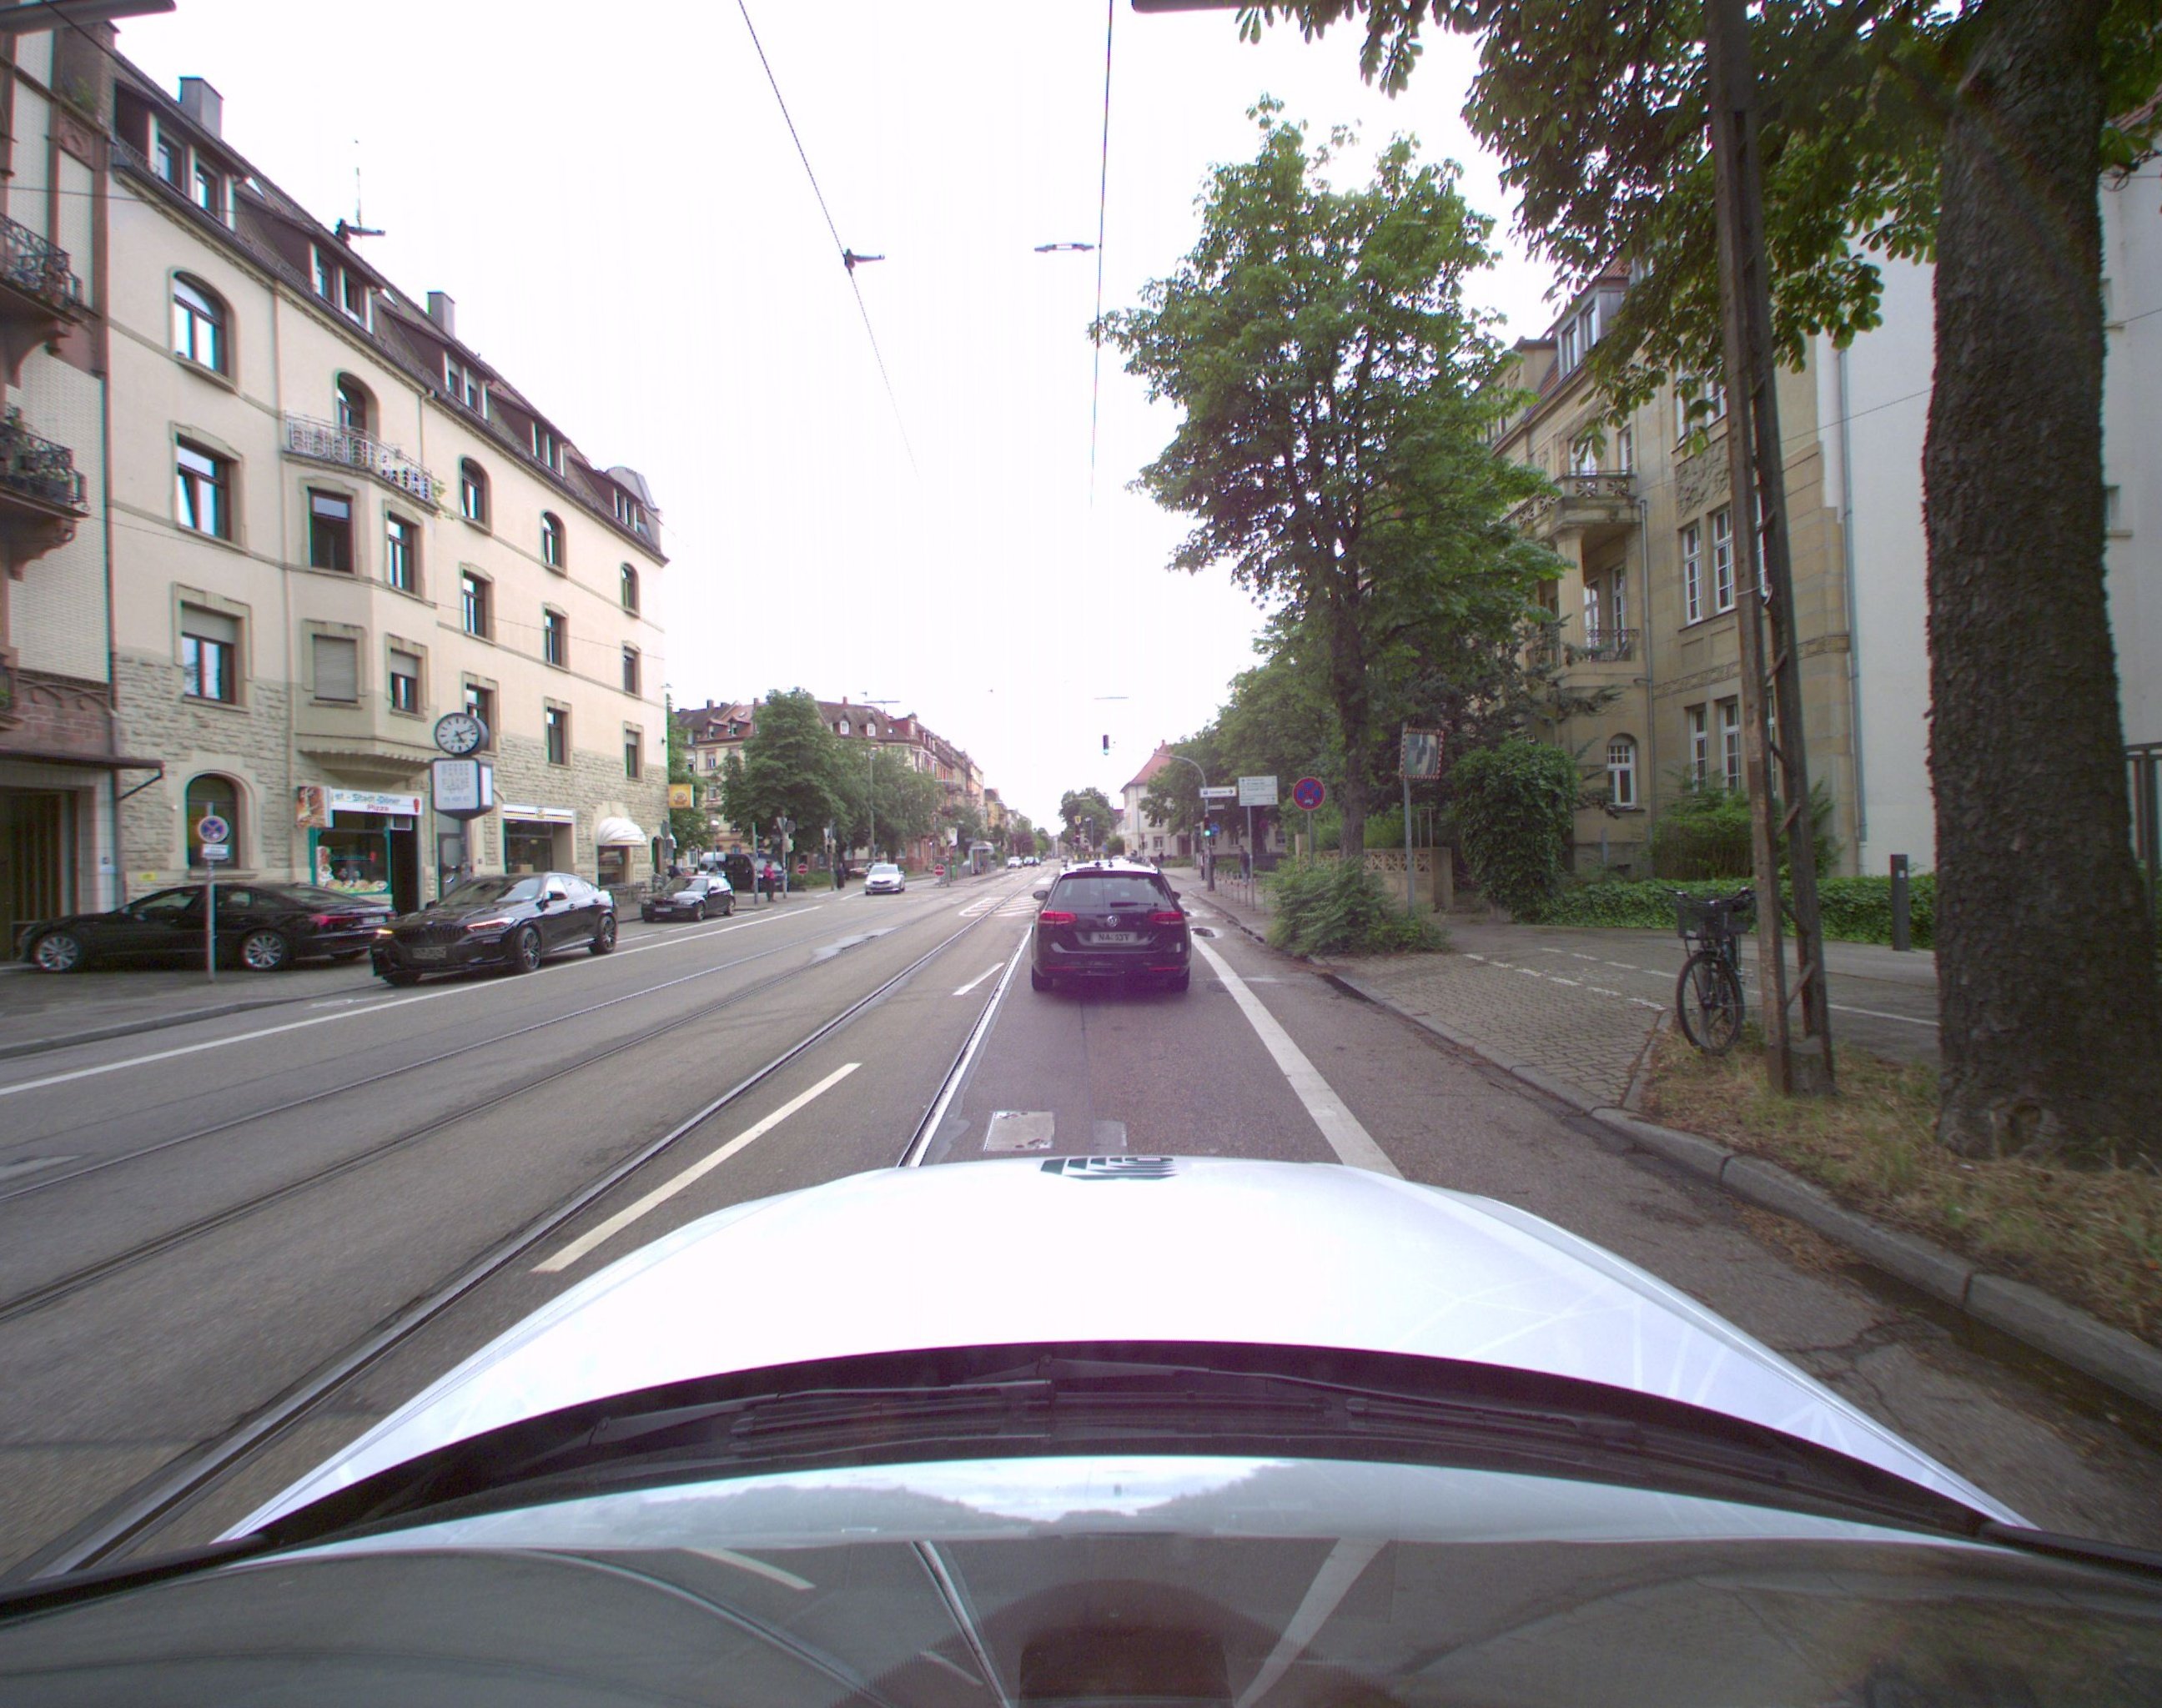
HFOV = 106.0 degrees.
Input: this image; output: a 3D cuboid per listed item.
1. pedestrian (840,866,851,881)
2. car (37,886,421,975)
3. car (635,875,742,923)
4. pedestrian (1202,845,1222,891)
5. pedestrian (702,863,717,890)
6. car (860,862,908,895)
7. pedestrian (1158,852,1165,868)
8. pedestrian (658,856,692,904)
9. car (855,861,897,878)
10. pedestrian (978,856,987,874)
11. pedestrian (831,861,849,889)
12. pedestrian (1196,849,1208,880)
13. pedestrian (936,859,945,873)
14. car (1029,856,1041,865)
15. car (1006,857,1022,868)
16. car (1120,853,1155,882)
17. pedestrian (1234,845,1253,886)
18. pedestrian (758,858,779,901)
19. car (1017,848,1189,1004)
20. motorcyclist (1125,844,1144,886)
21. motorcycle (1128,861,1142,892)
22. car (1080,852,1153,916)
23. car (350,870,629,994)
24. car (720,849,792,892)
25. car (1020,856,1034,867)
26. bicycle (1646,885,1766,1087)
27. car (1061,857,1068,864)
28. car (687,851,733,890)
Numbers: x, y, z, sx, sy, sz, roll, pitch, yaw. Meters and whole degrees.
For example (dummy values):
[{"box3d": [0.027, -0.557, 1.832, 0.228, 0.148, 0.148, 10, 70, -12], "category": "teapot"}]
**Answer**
[{"box3d": [-18.756, 1.559, 64.862, 0.591, 1.168, 0.837, -2, 0, -30], "category": "pedestrian"}, {"box3d": [-14.580, 1.290, 14.200, 4.419, 1.370, 1.877, 1, 0, -6], "category": "car"}, {"box3d": [-12.793, 1.419, 26.826, 1.645, 1.361, 4.125, 1, 0, -3], "category": "car"}, {"box3d": [5.455, 0.576, 33.942, 0.583, 1.831, 0.604, -5, 0, 0], "category": "pedestrian"}, {"box3d": [-24.022, 1.470, 52.633, 0.704, 1.715, 0.545, -1, -1, -41], "category": "pedestrian"}, {"box3d": [-9.698, 1.180, 40.299, 1.686, 1.410, 3.992, -3, 0, -5], "category": "car"}, {"box3d": [8.038, 0.612, 81.603, 0.579, 1.553, 0.610, -1, 0, 2], "category": "pedestrian"}, {"box3d": [-17.679, 1.132, 35.457, 0.971, 2.013, 0.835, -2, 0, -1], "category": "pedestrian"}, {"box3d": [-21.542, 1.597, 85.563, 3.884, 1.622, 1.706, -2, 0, -41], "category": "car"}, {"box3d": [-8.723, 0.956, 72.324, 0.712, 1.521, 0.590, -2, 0, 1], "category": "pedestrian"}, {"box3d": [-14.393, 1.249, 48.567, 0.834, 1.663, 0.591, -2, 0, 0], "category": "pedestrian"}, {"box3d": [7.306, 0.613, 49.065, 0.512, 1.831, 0.418, -5, 0, 0], "category": "pedestrian"}, {"box3d": [-14.923, 1.282, 86.591, 0.582, 1.521, 0.653, -2, -1, 35], "category": "pedestrian"}, {"box3d": [-8.506, 1.254, 149.837, 1.788, 1.596, 4.002, -2, 0, 2], "category": "car"}, {"box3d": [-9.519, 1.180, 115.419, 1.788, 1.596, 4.002, -2, 0, 2], "category": "car"}, {"box3d": [3.277, 0.766, 47.902, 1.718, 1.546, 3.999, -1, 0, -1], "category": "car"}, {"box3d": [7.277, 0.519, 36.451, 0.630, 1.815, 0.725, -2, 0, -3], "category": "pedestrian"}, {"box3d": [-13.612, 1.096, 35.470, 0.621, 1.842, 0.609, -2, 0, -3], "category": "pedestrian"}, {"box3d": [0.210, 0.734, 10.280, 1.718, 1.546, 3.999, -1, 0, -1], "category": "car"}, {"box3d": [2.236, 0.448, 33.875, 0.699, 1.692, 0.806, -2, 0, 7], "category": "motorcyclist"}, {"box3d": [2.258, 0.928, 33.880, 0.444, 1.235, 1.910, -2, 0, 7], "category": "motorcycle"}, {"box3d": [0.876, 0.736, 22.024, 1.718, 1.546, 3.999, -1, 0, -1], "category": "car"}, {"box3d": [-10.006, 1.182, 14.388, 1.883, 1.611, 4.871, -4, 0, -9], "category": "car"}, {"box3d": [-19.705, 0.996, 49.286, 2.198, 2.417, 5.314, -1, 0, -43], "category": "car"}, {"box3d": [-8.716, 1.223, 132.608, 1.788, 1.596, 4.002, -2, 0, 2], "category": "car"}, {"box3d": [4.557, 0.848, 5.889, 0.428, 1.198, 1.915, -2, -2, 44], "category": "bicycle"}, {"box3d": [-4.753, 1.861, 234.275, 2.027, 2.014, 3.998, -1, -1, -1], "category": "car"}, {"box3d": [-25.967, 1.162, 56.886, 2.194, 2.527, 5.325, -2, 0, -33], "category": "car"}]
